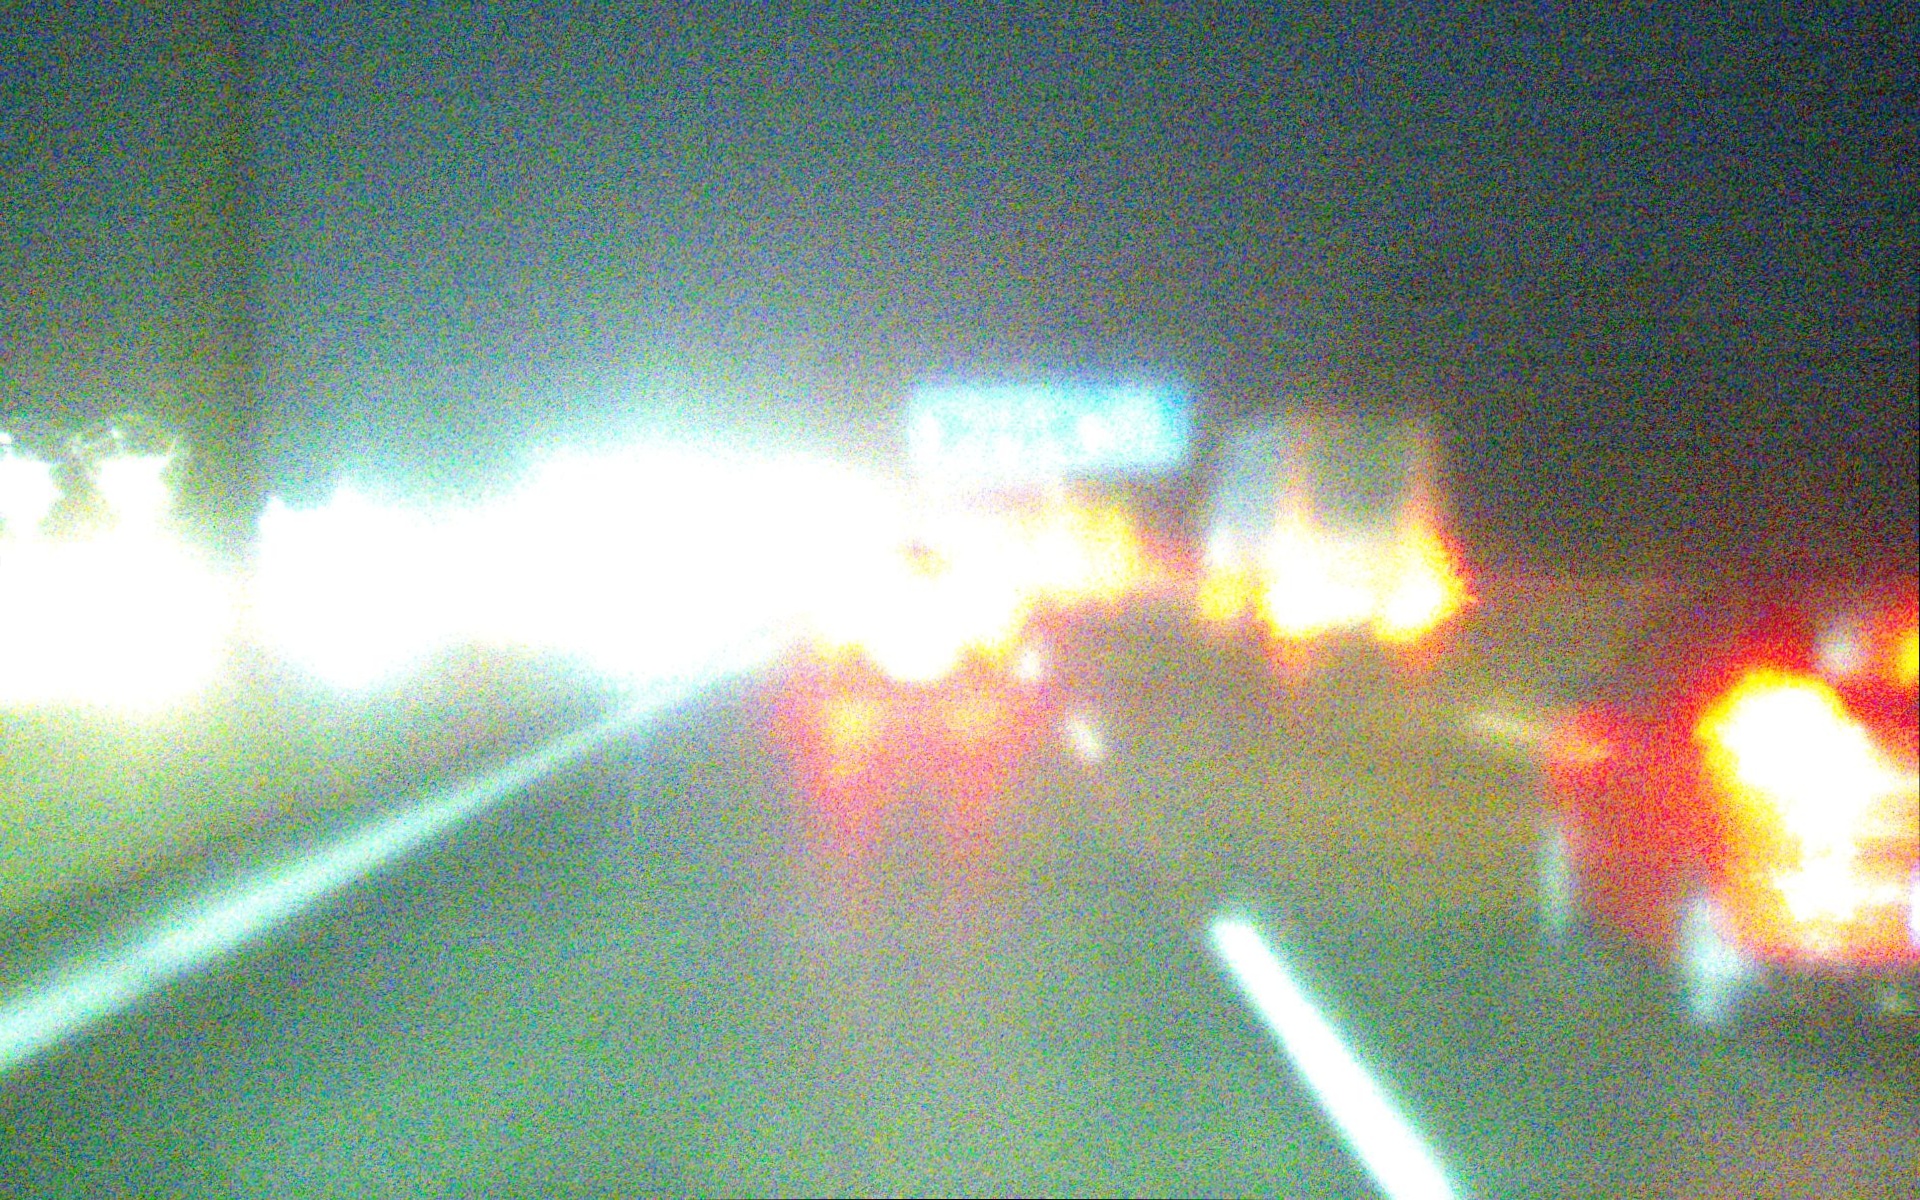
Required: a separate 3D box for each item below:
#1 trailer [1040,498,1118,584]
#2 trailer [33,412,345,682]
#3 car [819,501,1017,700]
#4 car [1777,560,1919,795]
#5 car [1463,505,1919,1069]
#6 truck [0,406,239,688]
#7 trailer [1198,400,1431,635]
[{"bbox_3d":[6.195,-3.033,181.232,3.041,4.095,13.829,-2,0,-2],"label":"trailer"},{"bbox_3d":[-13.894,-0.967,63.433,2.690,4.363,14.632,1,1,-1],"label":"trailer"},{"bbox_3d":[-0.479,-0.024,37.077,1.993,2.007,4.000,1,1,-1],"label":"car"},{"bbox_3d":[6.951,0.480,23.463,1.639,1.498,4.014,-1,1,-2],"label":"car"},{"bbox_3d":[2.966,0.527,11.851,1.740,1.570,4.494,0,0,-1],"label":"car"},{"bbox_3d":[-13.793,-0.869,56.491,2.690,4.366,5.735,1,1,-1],"label":"truck"},{"bbox_3d":[6.808,-1.493,68.311,2.903,4.095,14.488,-2,0,0],"label":"trailer"}]
